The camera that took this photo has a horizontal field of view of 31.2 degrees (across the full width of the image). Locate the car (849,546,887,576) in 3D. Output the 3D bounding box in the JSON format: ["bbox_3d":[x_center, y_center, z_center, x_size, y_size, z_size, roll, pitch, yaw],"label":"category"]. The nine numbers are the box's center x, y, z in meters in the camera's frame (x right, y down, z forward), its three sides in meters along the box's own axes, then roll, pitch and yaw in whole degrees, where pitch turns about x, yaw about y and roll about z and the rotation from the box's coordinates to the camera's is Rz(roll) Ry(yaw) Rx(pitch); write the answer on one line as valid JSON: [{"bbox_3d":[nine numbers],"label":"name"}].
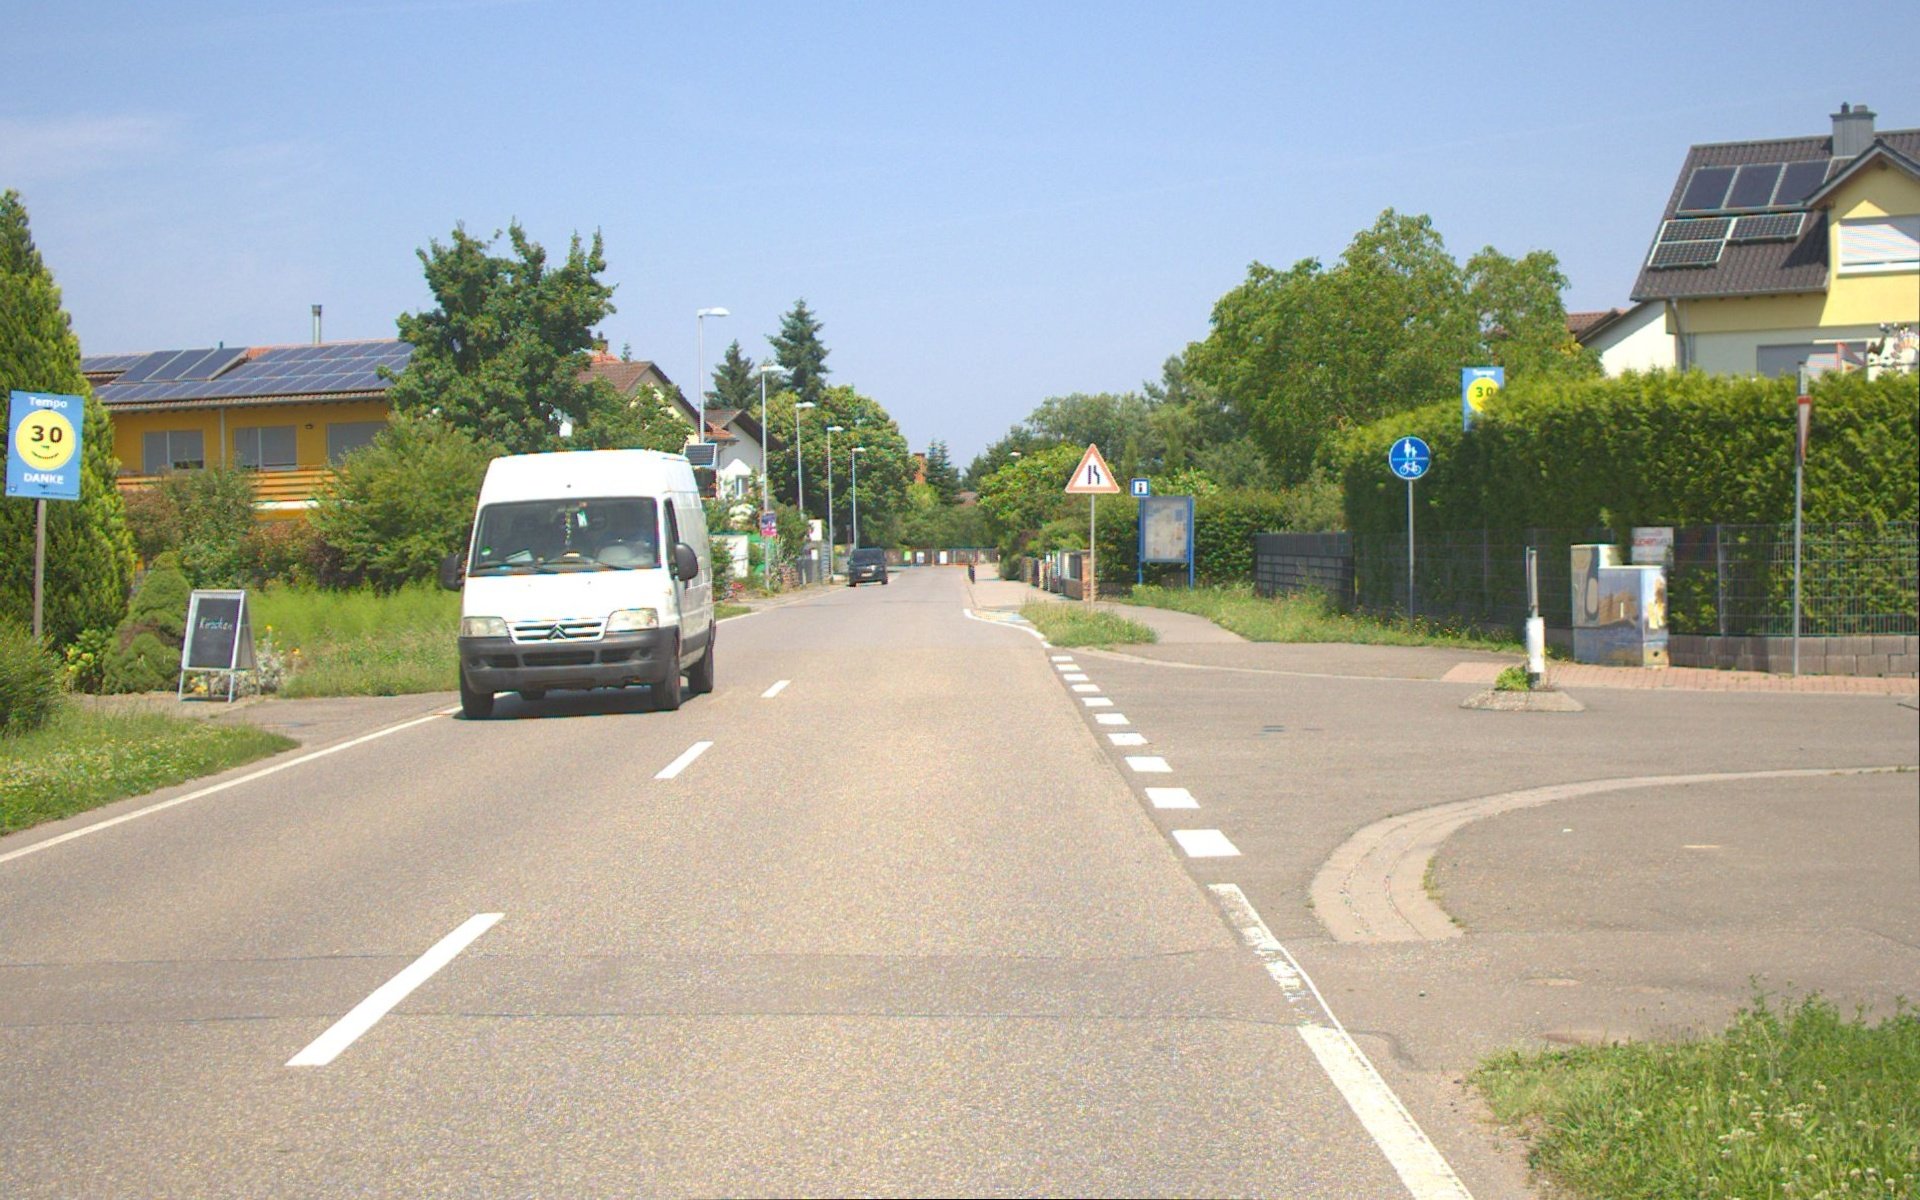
[{"bbox_3d":[-4.444,-1.882,166.849,1.759,1.380,3.453,-2,1,0],"label":"car"}]

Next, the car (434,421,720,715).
[{"bbox_3d":[-3.603,-0.360,33.448,2.077,2.533,5.874,-2,1,0],"label":"car"}]
